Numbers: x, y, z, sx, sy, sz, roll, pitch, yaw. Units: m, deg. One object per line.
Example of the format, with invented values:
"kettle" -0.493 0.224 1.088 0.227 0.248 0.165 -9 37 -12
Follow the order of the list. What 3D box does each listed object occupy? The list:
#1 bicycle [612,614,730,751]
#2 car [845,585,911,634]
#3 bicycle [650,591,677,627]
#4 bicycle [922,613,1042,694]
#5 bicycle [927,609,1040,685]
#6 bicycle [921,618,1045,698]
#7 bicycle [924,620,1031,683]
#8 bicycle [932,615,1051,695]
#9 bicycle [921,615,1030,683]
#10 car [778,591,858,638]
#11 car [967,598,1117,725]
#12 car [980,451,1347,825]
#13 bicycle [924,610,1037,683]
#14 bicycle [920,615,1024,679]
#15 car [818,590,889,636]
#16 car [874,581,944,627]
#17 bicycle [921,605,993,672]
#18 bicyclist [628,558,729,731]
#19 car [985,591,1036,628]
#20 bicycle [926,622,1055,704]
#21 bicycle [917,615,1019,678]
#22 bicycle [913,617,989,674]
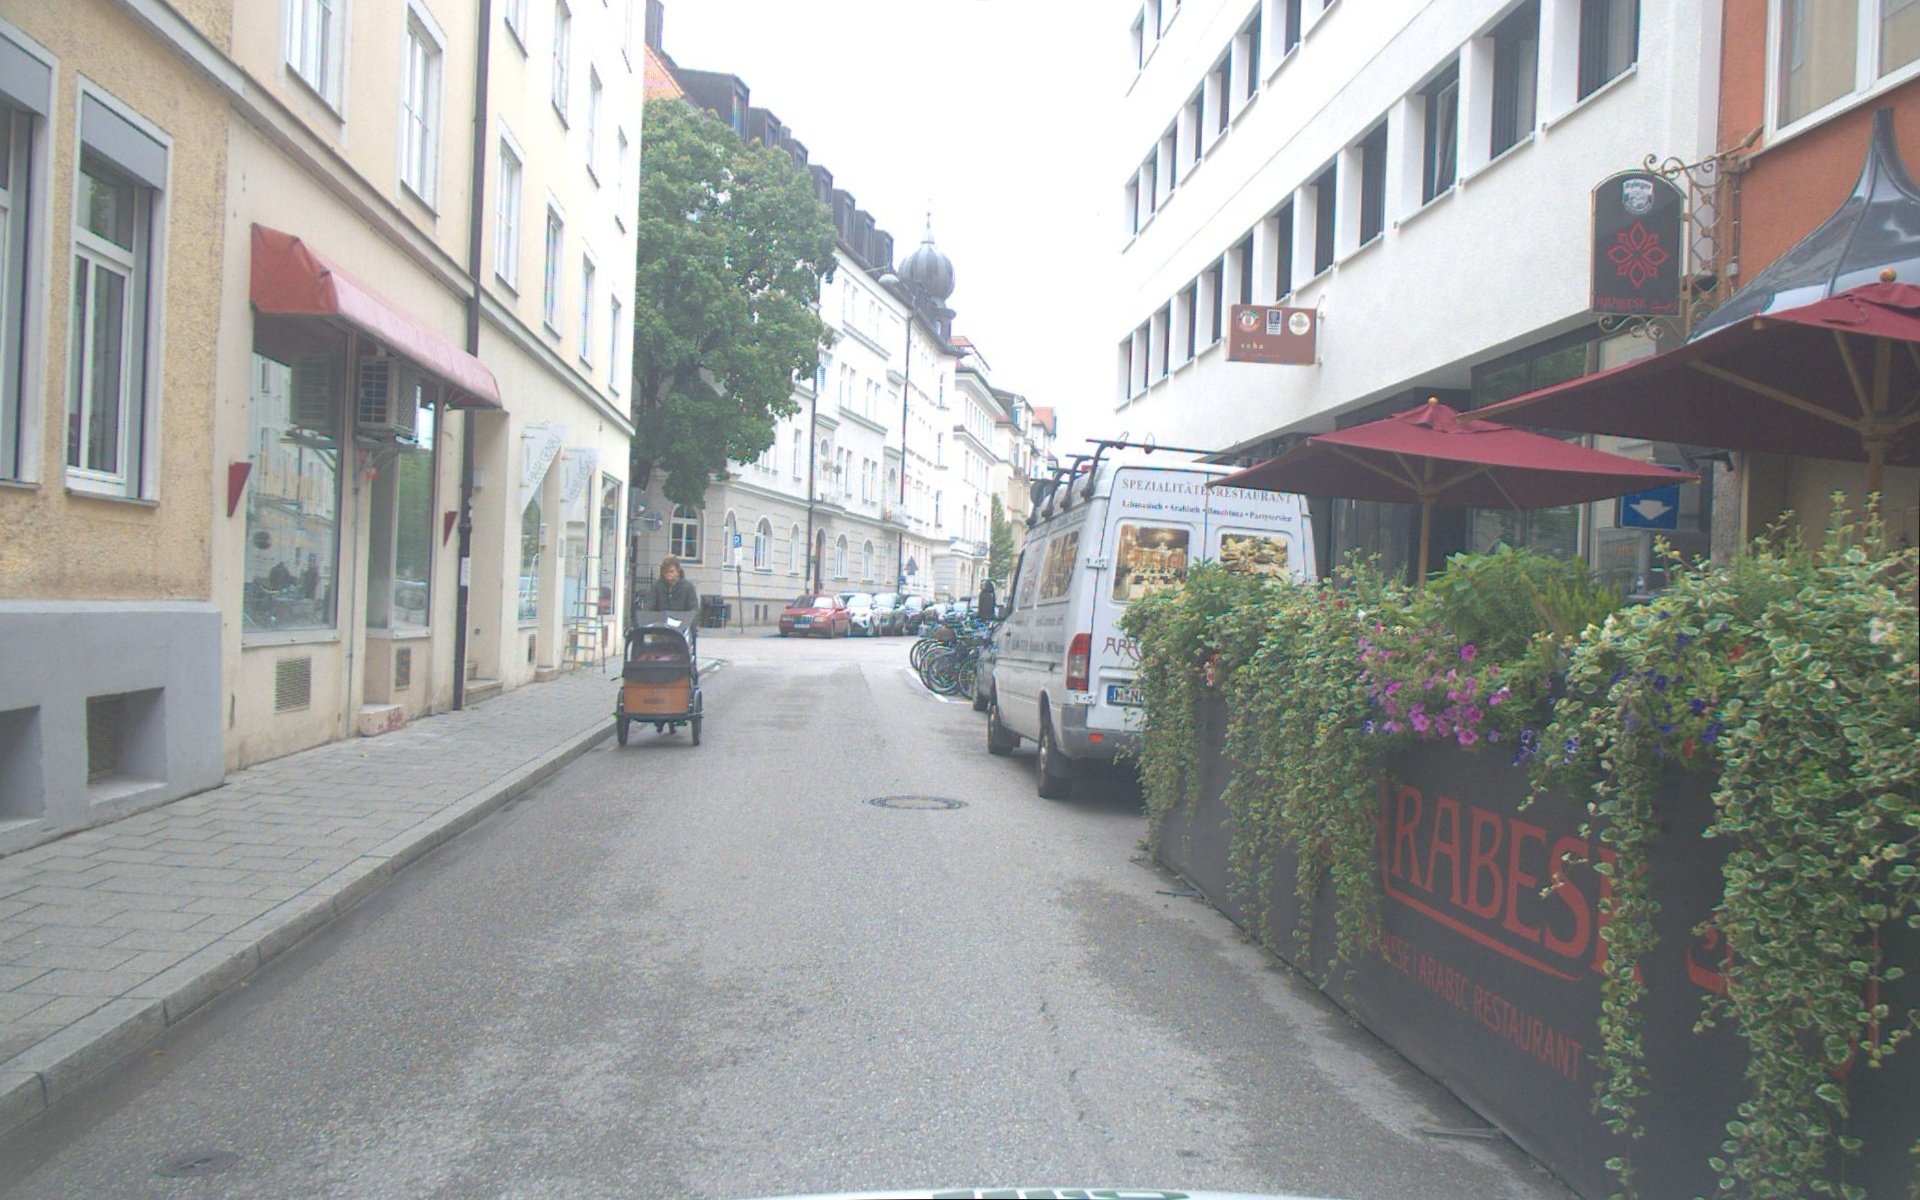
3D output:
"bicycle" -2.903 0.793 16.875 0.913 1.279 2.412 1 -1 -4
"car" -3.139 0.367 63.852 1.902 1.732 4.002 3 0 5
"bicycle" -9.381 0.274 52.350 0.483 1.071 1.827 2 2 1
"bicycle" 0.345 0.851 26.419 1.838 1.225 0.488 2 1 -7
"bicycle" 0.389 0.790 27.840 1.838 1.225 0.579 1 0 -7
"bicycle" 0.356 0.907 25.898 1.838 1.127 0.488 3 1 -7
"bicycle" 0.309 0.924 29.712 1.838 1.070 0.563 2 -2 -8
"bicycle" 0.510 0.896 27.117 1.838 1.177 0.564 4 1 -7
"bicycle" 0.270 0.852 29.004 1.838 1.114 0.439 2 1 -8
"car" -4.588 0.463 53.931 1.694 1.402 4.230 2 0 7
"car" 1.016 0.754 21.987 1.549 1.489 3.549 2 0 -4
"car" 1.487 0.256 14.681 1.883 2.549 5.990 3 0 -5
"bicycle" 0.343 0.793 28.452 1.857 1.190 0.565 1 0 -7
"bicycle" 0.218 0.864 30.404 1.838 1.098 0.402 2 1 -8
"car" -3.743 0.466 59.025 1.952 1.499 4.220 2 0 4
"car" -2.069 0.161 68.730 1.951 1.768 4.525 2 0 10
"bicycle" -0.074 0.799 34.312 1.428 1.307 0.445 2 0 -4
"bicyclist" -2.923 0.449 17.291 0.908 1.751 1.098 1 0 -4
"car" 2.441 0.457 78.504 1.915 1.636 4.312 2 0 8
"bicycle" 0.461 0.953 25.046 1.838 1.098 0.488 4 1 -7
"bicycle" 0.148 0.873 30.839 1.838 1.098 0.408 2 1 -8
"bicycle" -0.187 0.911 33.291 1.425 1.088 0.462 2 0 -12
